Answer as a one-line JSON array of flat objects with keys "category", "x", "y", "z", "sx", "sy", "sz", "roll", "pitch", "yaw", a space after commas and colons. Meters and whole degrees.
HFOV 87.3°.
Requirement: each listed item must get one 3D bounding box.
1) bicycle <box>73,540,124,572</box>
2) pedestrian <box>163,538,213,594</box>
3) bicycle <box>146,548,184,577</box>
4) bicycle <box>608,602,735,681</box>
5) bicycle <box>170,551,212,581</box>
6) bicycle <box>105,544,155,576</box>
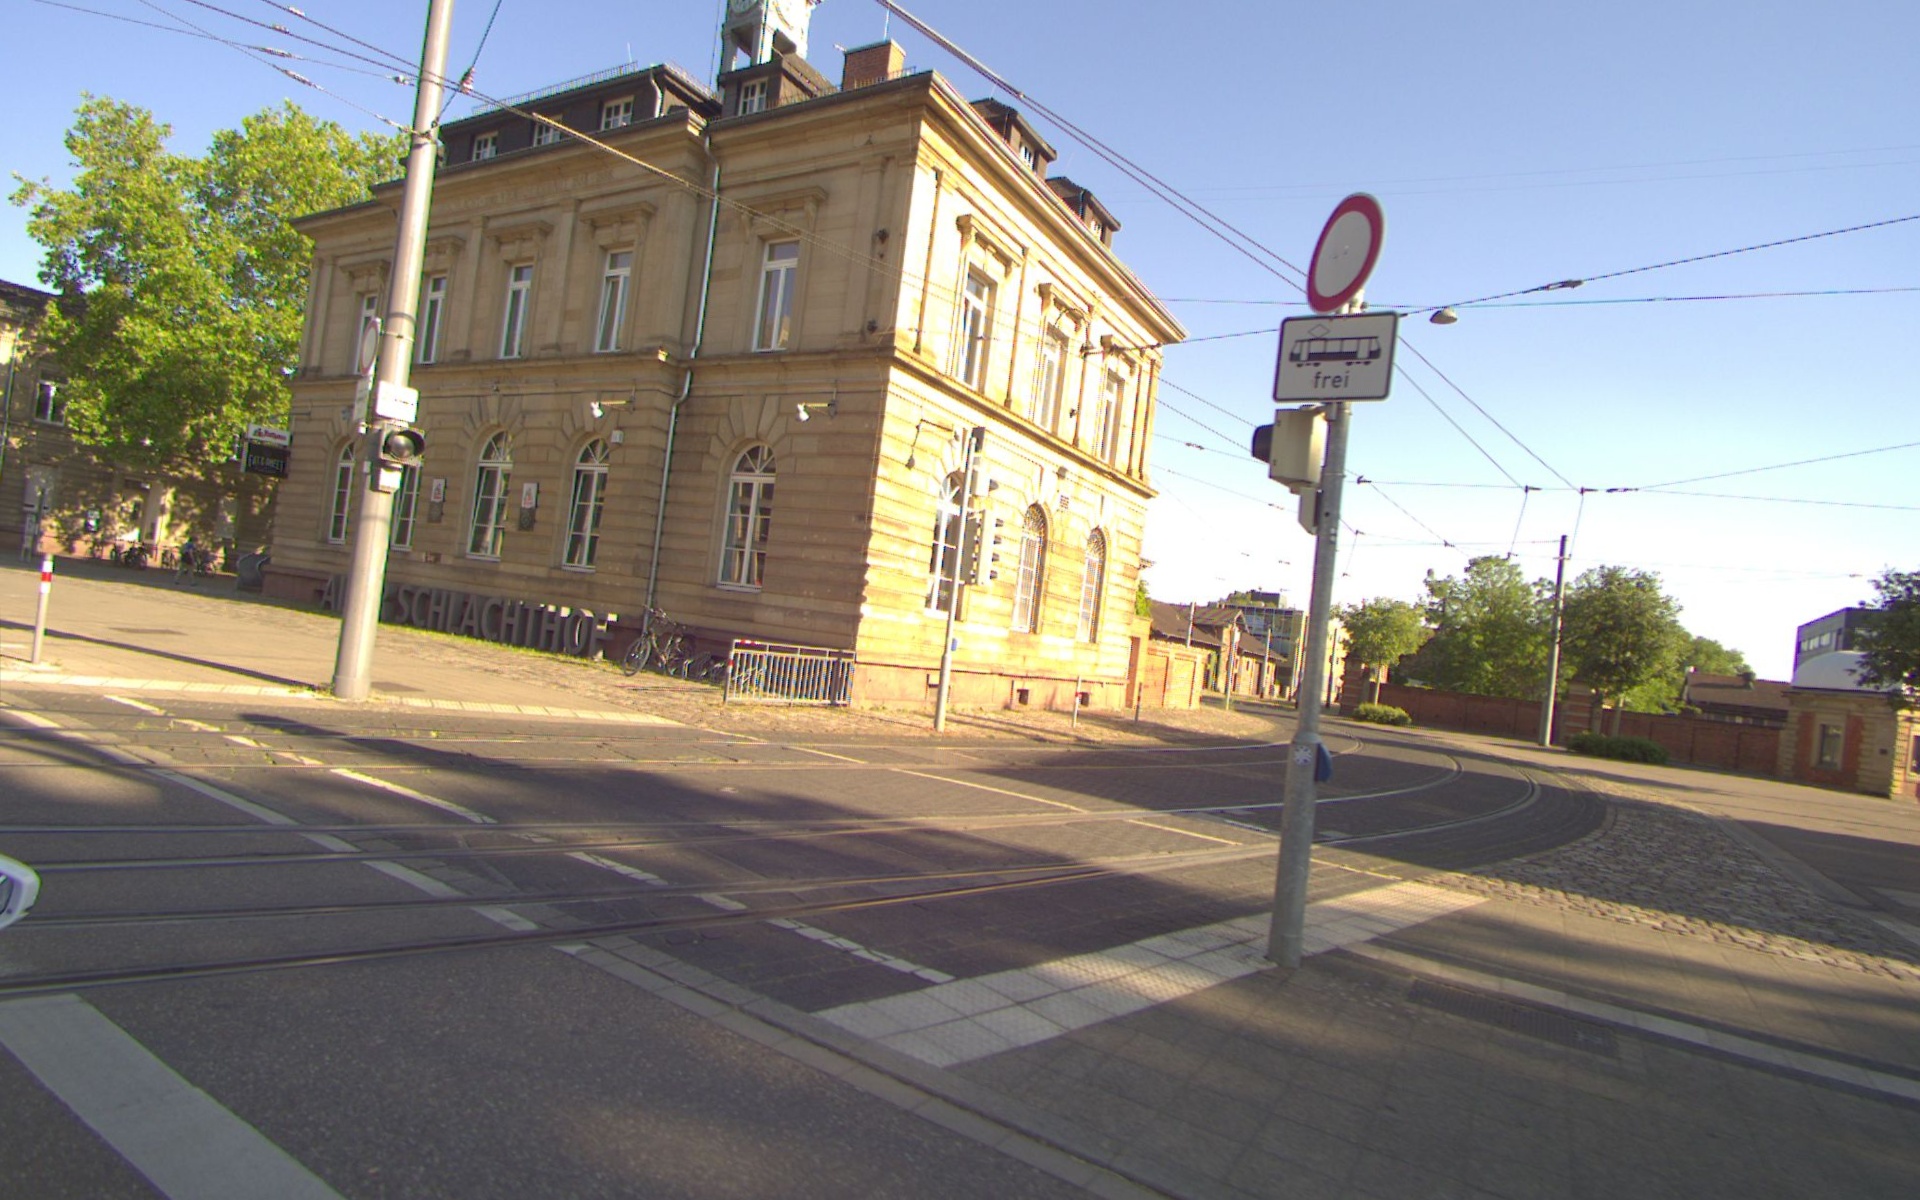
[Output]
[{"category": "bicycle", "x": -35.254, "y": -1.807, "z": 41.148, "sx": 2.316, "sy": 1.059, "sz": 0.527, "roll": 7, "pitch": -1, "yaw": 24}, {"category": "pedestrian", "x": -28.322, "y": -1.251, "z": 36.902, "sx": 0.811, "sy": 1.887, "sz": 0.983, "roll": 7, "pitch": -1, "yaw": 19}, {"category": "bicycle", "x": -34.411, "y": -1.623, "z": 43.508, "sx": 2.194, "sy": 1.059, "sz": 0.526, "roll": 6, "pitch": -1, "yaw": 33}, {"category": "bicycle", "x": -5.072, "y": 0.765, "z": 17.841, "sx": 0.752, "sy": 1.224, "sz": 2.141, "roll": 7, "pitch": -1, "yaw": 30}, {"category": "bicycle", "x": -34.043, "y": -1.502, "z": 44.523, "sx": 2.192, "sy": 1.059, "sz": 0.527, "roll": 6, "pitch": -1, "yaw": 28}, {"category": "bicycle", "x": -34.692, "y": -1.669, "z": 42.046, "sx": 2.316, "sy": 1.059, "sz": 0.527, "roll": 7, "pitch": -1, "yaw": 24}]
